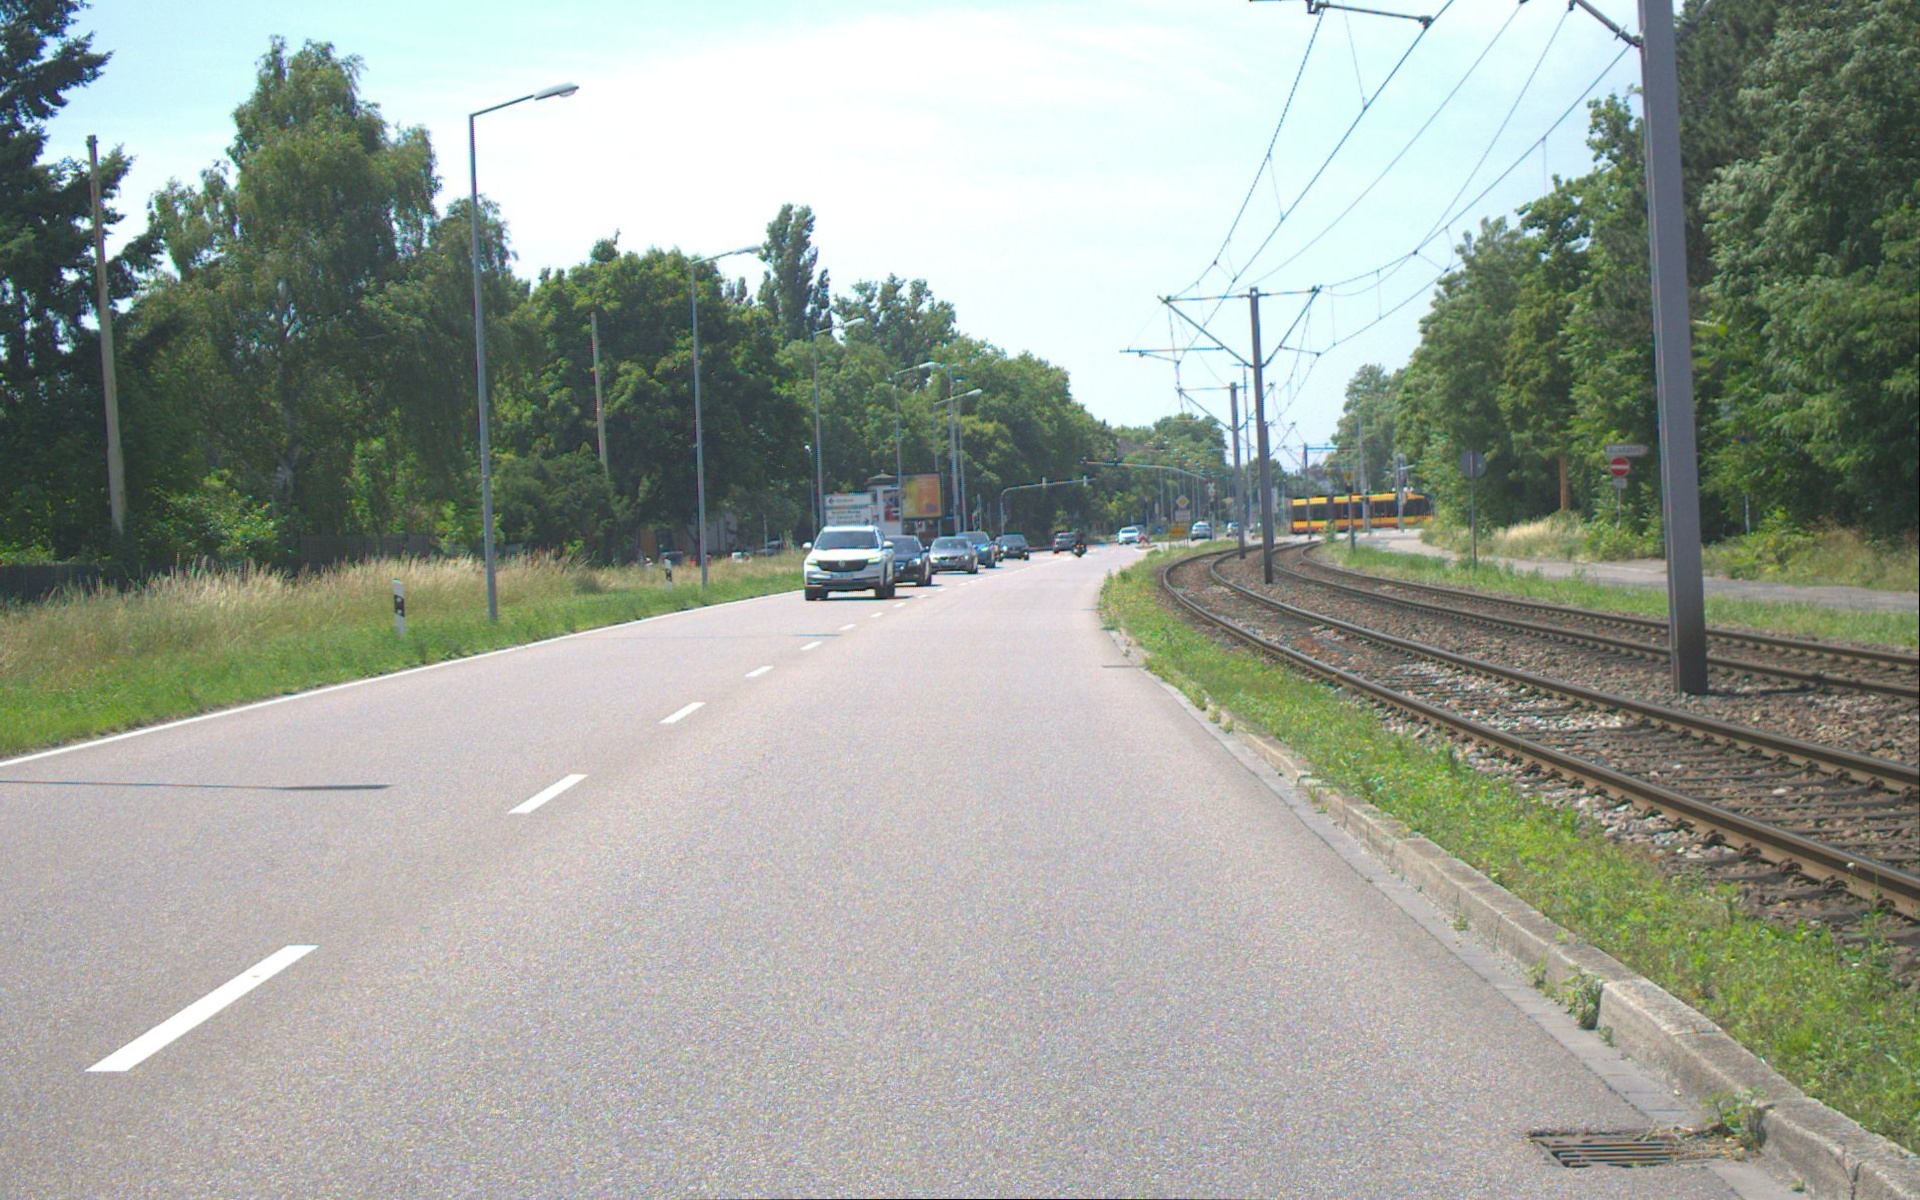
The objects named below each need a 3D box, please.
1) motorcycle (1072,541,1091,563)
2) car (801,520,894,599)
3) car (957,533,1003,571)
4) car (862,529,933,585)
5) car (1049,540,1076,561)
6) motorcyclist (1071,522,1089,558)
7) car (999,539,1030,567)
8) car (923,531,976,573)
[{"bbox_3d":[6.472,-2.569,183.035,0.970,1.113,2.732,-1,1,3],"label":"motorcycle"},{"bbox_3d":[-2.656,-0.982,82.109,1.935,1.790,4.712,-1,1,1],"label":"car"},{"bbox_3d":[0.837,-2.013,144.407,1.817,1.532,4.363,-1,1,1],"label":"car"},{"bbox_3d":[-1.776,-1.252,99.136,1.817,1.523,4.363,-1,1,1],"label":"car"},{"bbox_3d":[7.143,-3.477,239.603,1.627,1.390,4.363,-1,1,5],"label":"car"},{"bbox_3d":[6.402,-3.186,182.770,0.891,1.898,1.015,-1,1,3],"label":"motorcyclist"},{"bbox_3d":[2.964,-2.585,188.014,1.627,1.485,4.363,-1,1,1],"label":"car"},{"bbox_3d":[-0.370,-1.803,128.019,1.817,1.488,4.363,-1,1,1],"label":"car"}]
